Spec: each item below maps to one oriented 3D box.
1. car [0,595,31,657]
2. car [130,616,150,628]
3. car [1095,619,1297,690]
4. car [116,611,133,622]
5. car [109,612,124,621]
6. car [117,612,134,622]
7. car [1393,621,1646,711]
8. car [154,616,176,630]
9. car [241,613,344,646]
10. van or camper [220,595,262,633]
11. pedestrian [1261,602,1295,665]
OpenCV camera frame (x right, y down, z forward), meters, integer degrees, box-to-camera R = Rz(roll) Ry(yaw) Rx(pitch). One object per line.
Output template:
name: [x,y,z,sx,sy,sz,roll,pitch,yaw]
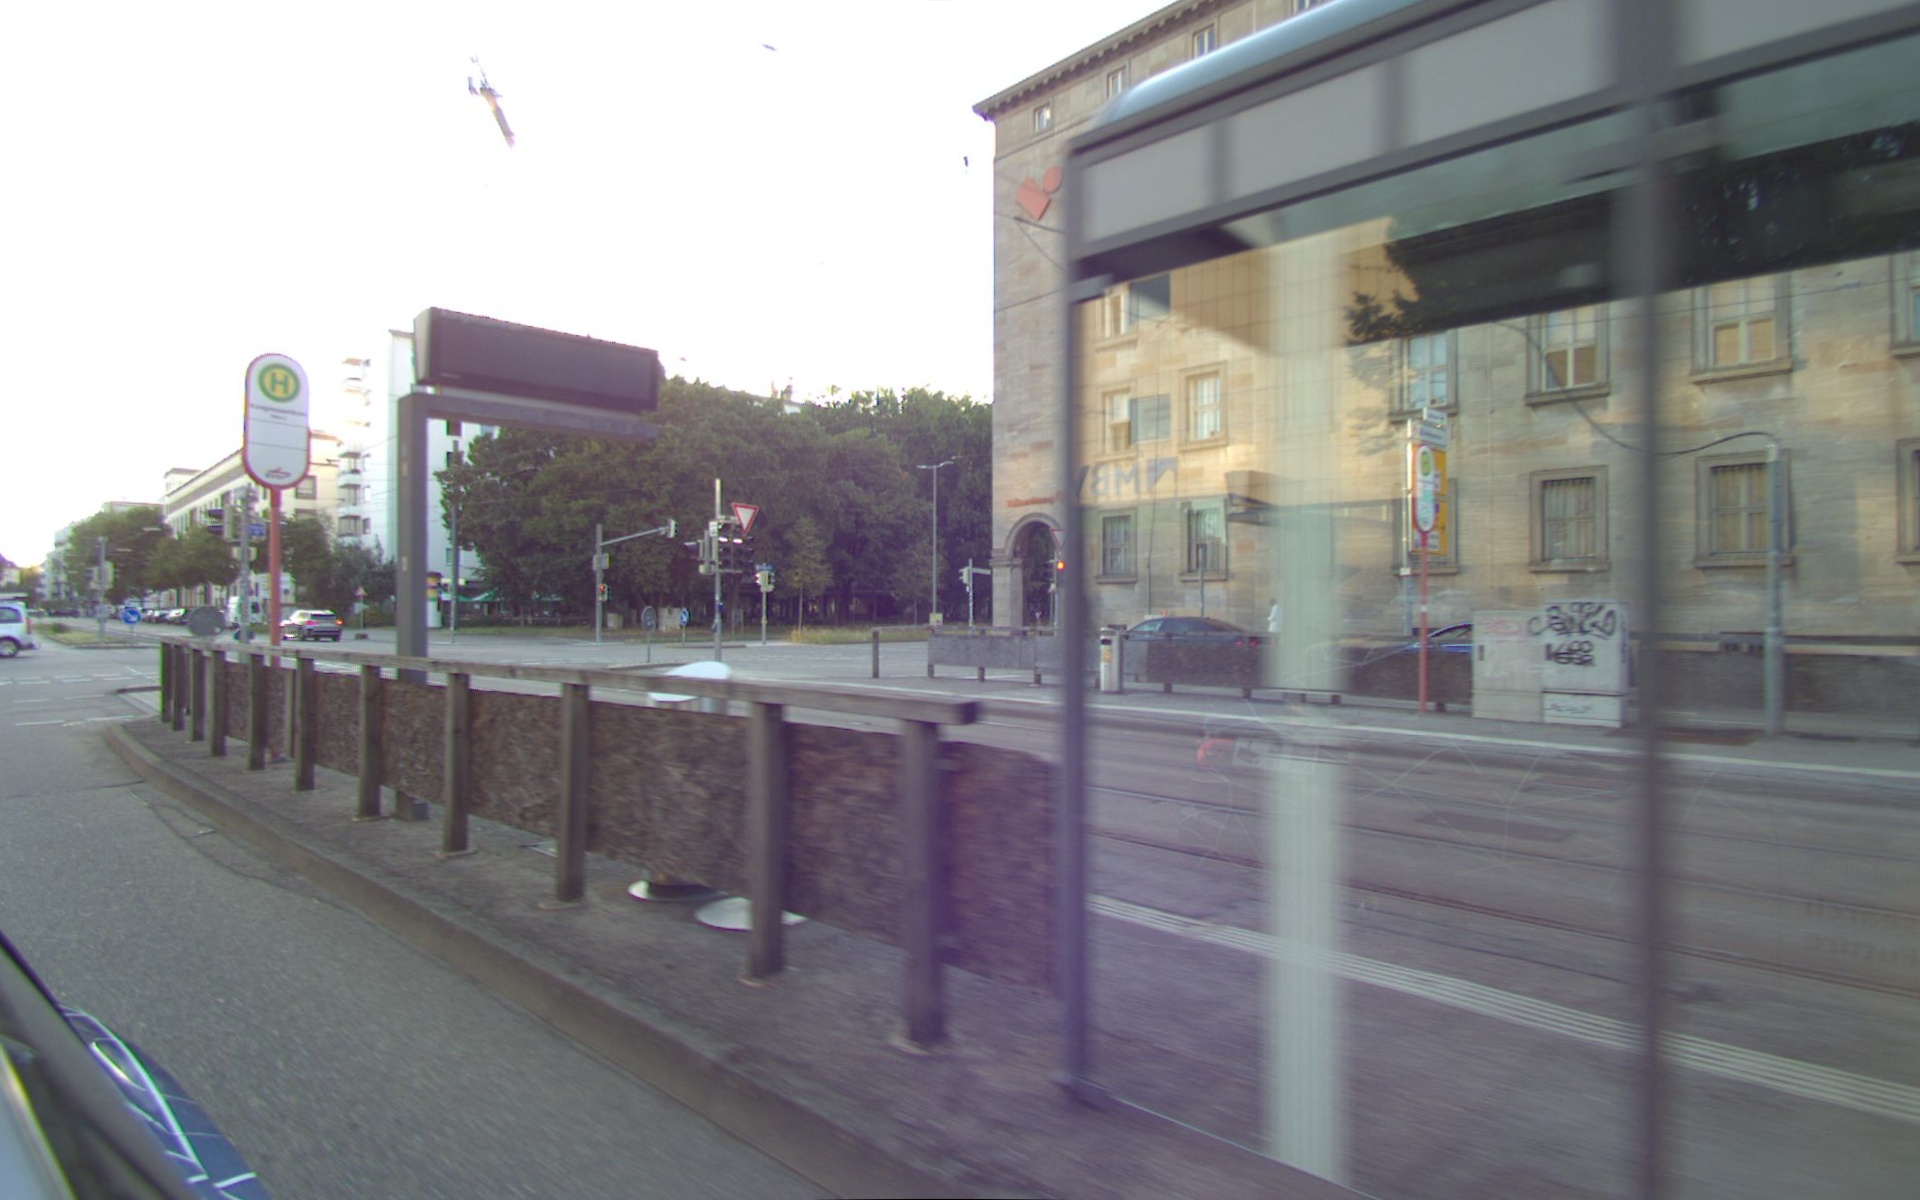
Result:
car: [-31.711,0.805,31.204,1.806,1.926,4.401,-1,-1,44]
car: [-101.236,2.667,124.940,1.696,1.441,3.815,1,-1,-41]
car: [5.217,1.160,22.779,1.624,1.438,4.235,1,-1,-44]
car: [-112.200,2.243,135.886,1.696,1.498,3.816,0,-1,-40]
car: [-125.355,2.452,150.383,1.696,1.441,3.815,1,-1,-41]
car: [-115.332,2.329,139.806,1.696,1.441,3.815,1,-1,-41]
car: [10.024,1.109,18.305,1.624,1.438,3.707,1,-1,-45]
car: [-87.471,2.522,111.323,1.696,1.441,3.815,1,-1,-41]
car: [-34.832,1.530,52.863,4.292,1.676,1.884,0,-1,6]
van or camper: [-55.599,1.077,78.199,2.080,2.702,4.715,0,-3,-43]
pedestrian: [8.864,0.933,28.201,0.687,1.723,0.647,1,-1,-42]
